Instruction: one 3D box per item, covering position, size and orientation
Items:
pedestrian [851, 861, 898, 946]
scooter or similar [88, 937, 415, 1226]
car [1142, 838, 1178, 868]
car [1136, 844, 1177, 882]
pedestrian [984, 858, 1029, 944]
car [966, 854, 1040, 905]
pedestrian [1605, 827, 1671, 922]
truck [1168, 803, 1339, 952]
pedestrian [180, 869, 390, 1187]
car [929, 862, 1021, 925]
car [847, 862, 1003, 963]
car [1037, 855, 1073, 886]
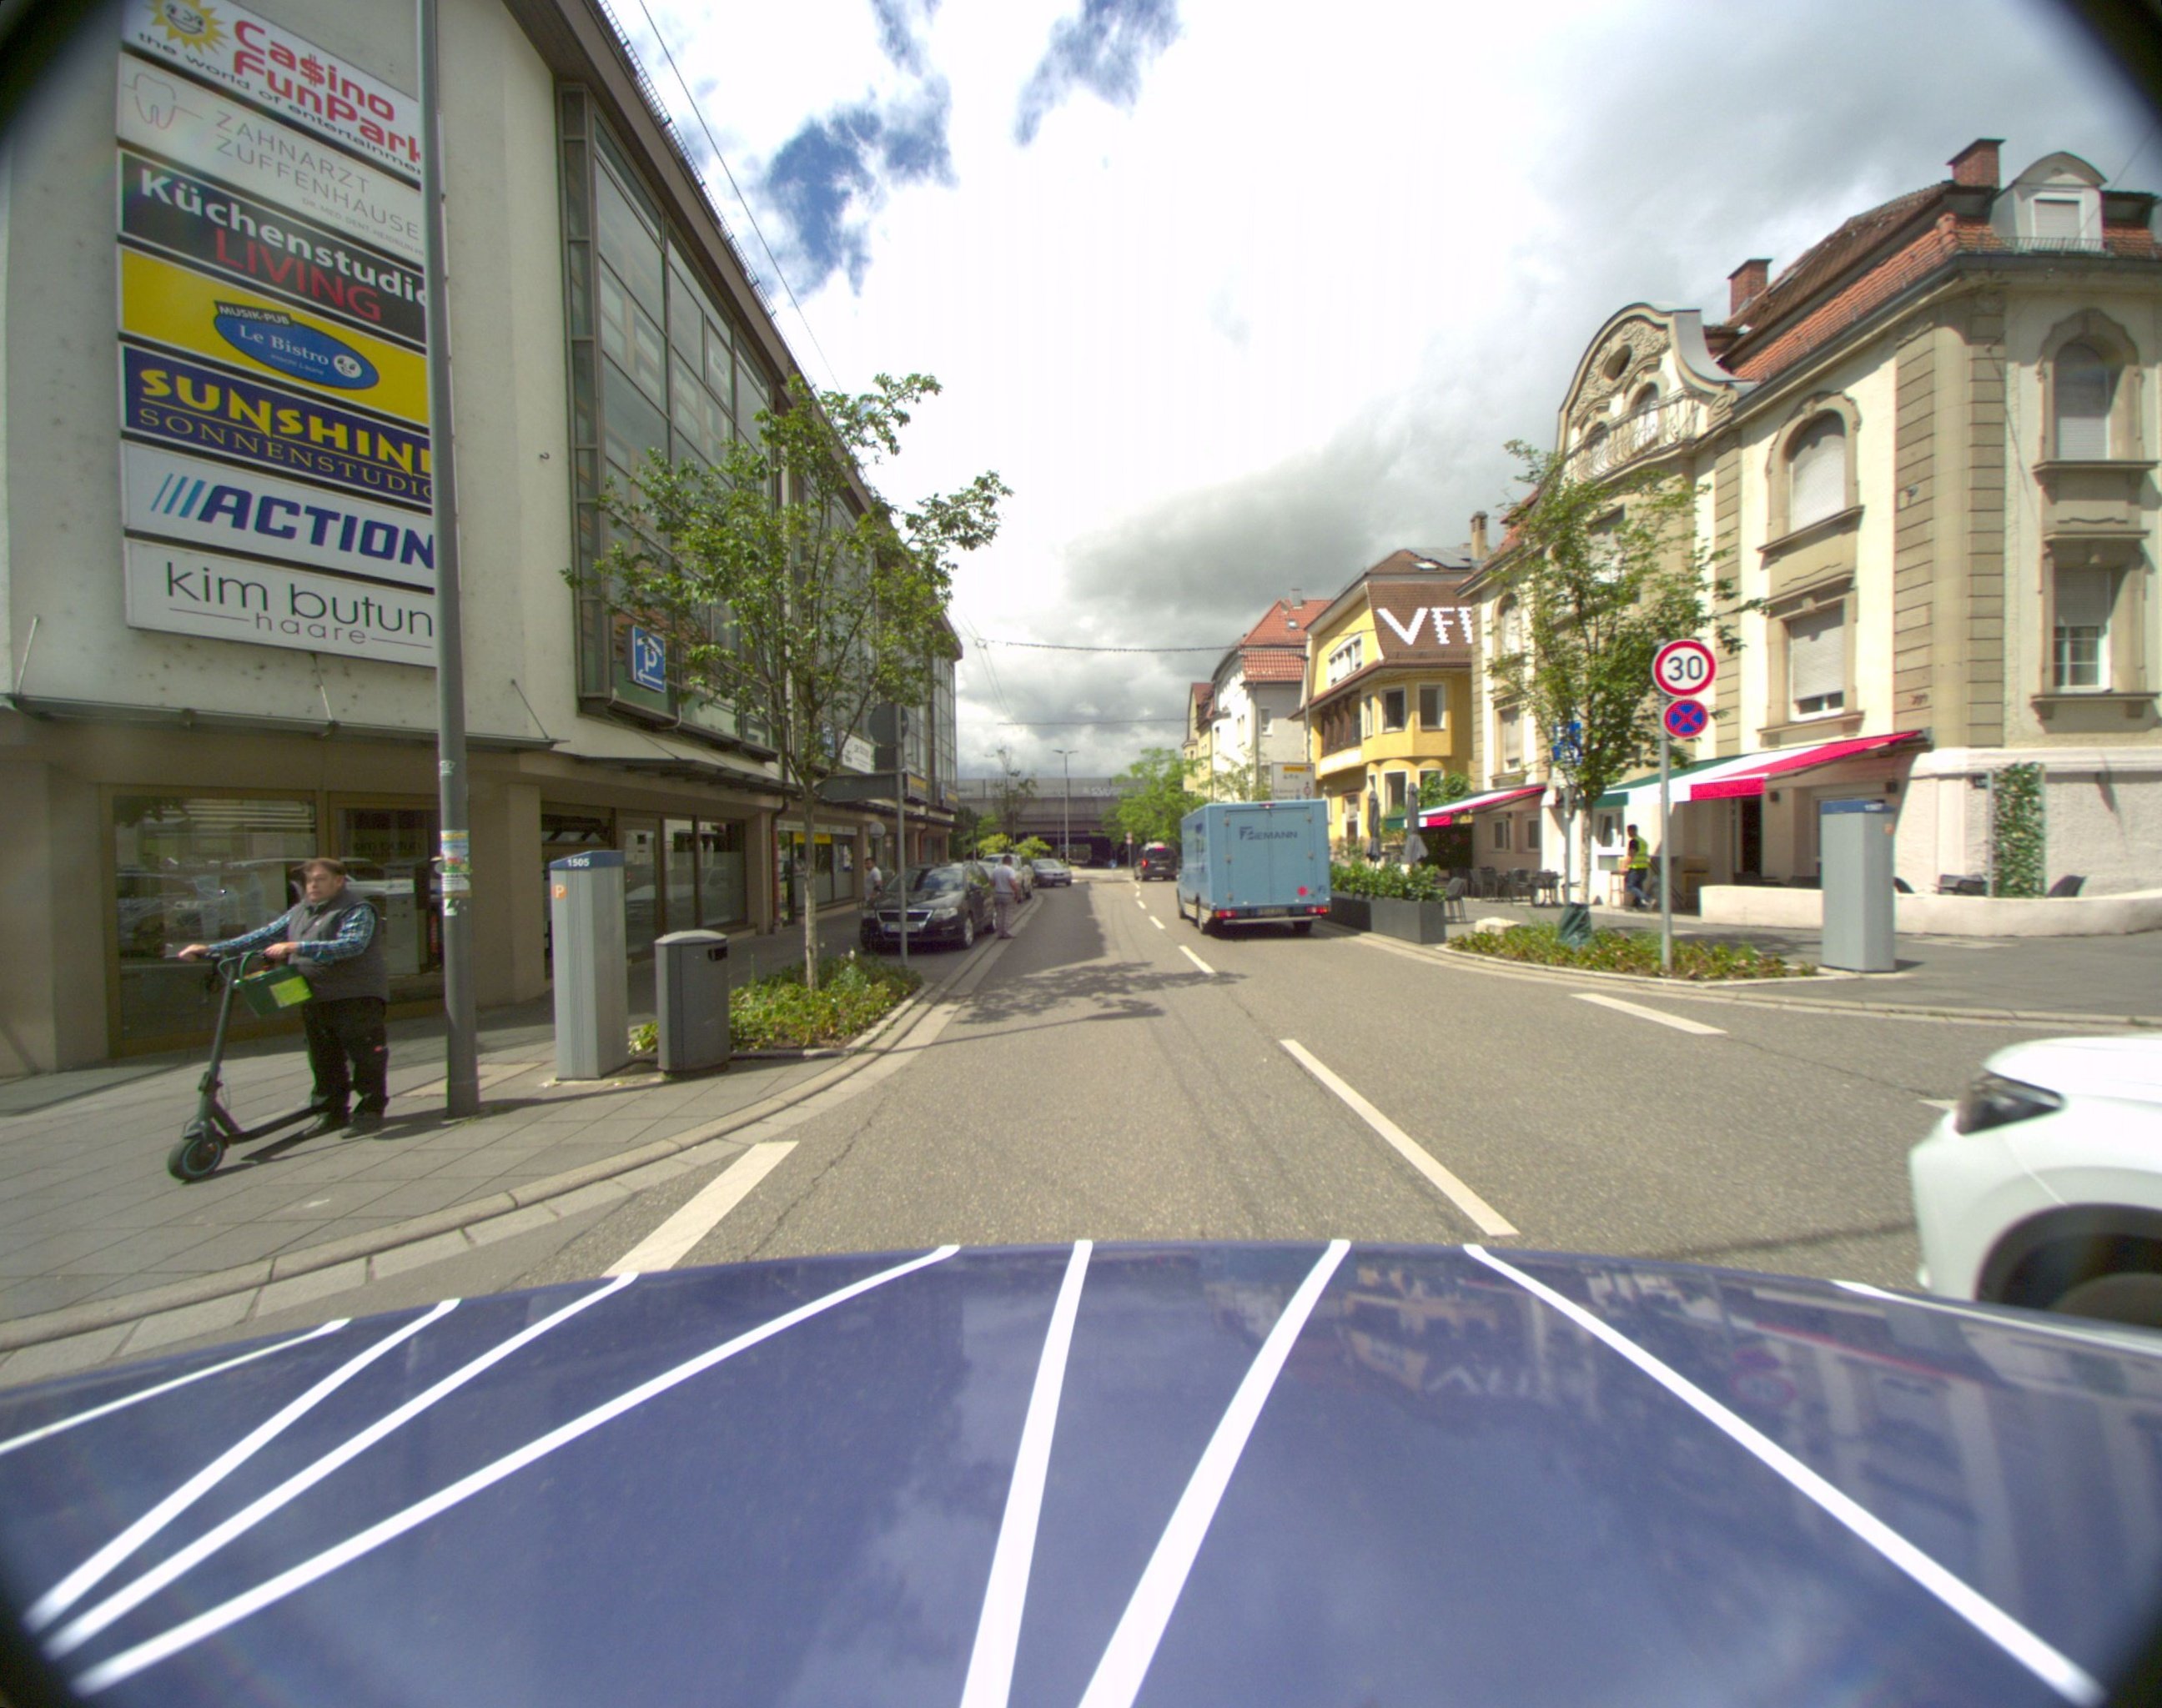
[{"bbox_3d":[-3.918,0.932,14.447,0.661,1.553,0.477,-3,1,1],"label":"pedestrian"},{"bbox_3d":[-4.668,1.202,4.403,0.432,1.273,1.249,-3,1,0],"label":"scooter or similar"},{"bbox_3d":[7.703,-0.136,75.253,2.309,2.657,7.266,-3,1,-3],"label":"car"},{"bbox_3d":[4.162,0.496,42.430,1.876,1.921,5.177,-2,-1,2],"label":"car"},{"bbox_3d":[-1.431,0.899,14.590,0.584,1.590,0.549,-3,1,22],"label":"pedestrian"},{"bbox_3d":[-2.658,0.822,26.821,1.825,1.652,4.467,0,0,4],"label":"car"},{"bbox_3d":[10.723,0.386,14.629,0.802,1.746,0.810,-4,2,-40],"label":"pedestrian"},{"bbox_3d":[3.133,0.329,15.414,2.111,2.292,6.475,-3,1,2],"label":"truck"},{"bbox_3d":[-4.551,0.957,4.380,0.572,1.693,0.481,-3,1,-2],"label":"pedestrian"},{"bbox_3d":[-2.800,1.005,21.018,1.857,1.436,4.535,-2,0,0],"label":"car"},{"bbox_3d":[-2.629,0.917,13.907,1.719,1.445,4.552,-2,0,2],"label":"car"},{"bbox_3d":[-1.326,0.835,40.190,1.724,1.517,3.598,-1,0,0],"label":"car"}]
